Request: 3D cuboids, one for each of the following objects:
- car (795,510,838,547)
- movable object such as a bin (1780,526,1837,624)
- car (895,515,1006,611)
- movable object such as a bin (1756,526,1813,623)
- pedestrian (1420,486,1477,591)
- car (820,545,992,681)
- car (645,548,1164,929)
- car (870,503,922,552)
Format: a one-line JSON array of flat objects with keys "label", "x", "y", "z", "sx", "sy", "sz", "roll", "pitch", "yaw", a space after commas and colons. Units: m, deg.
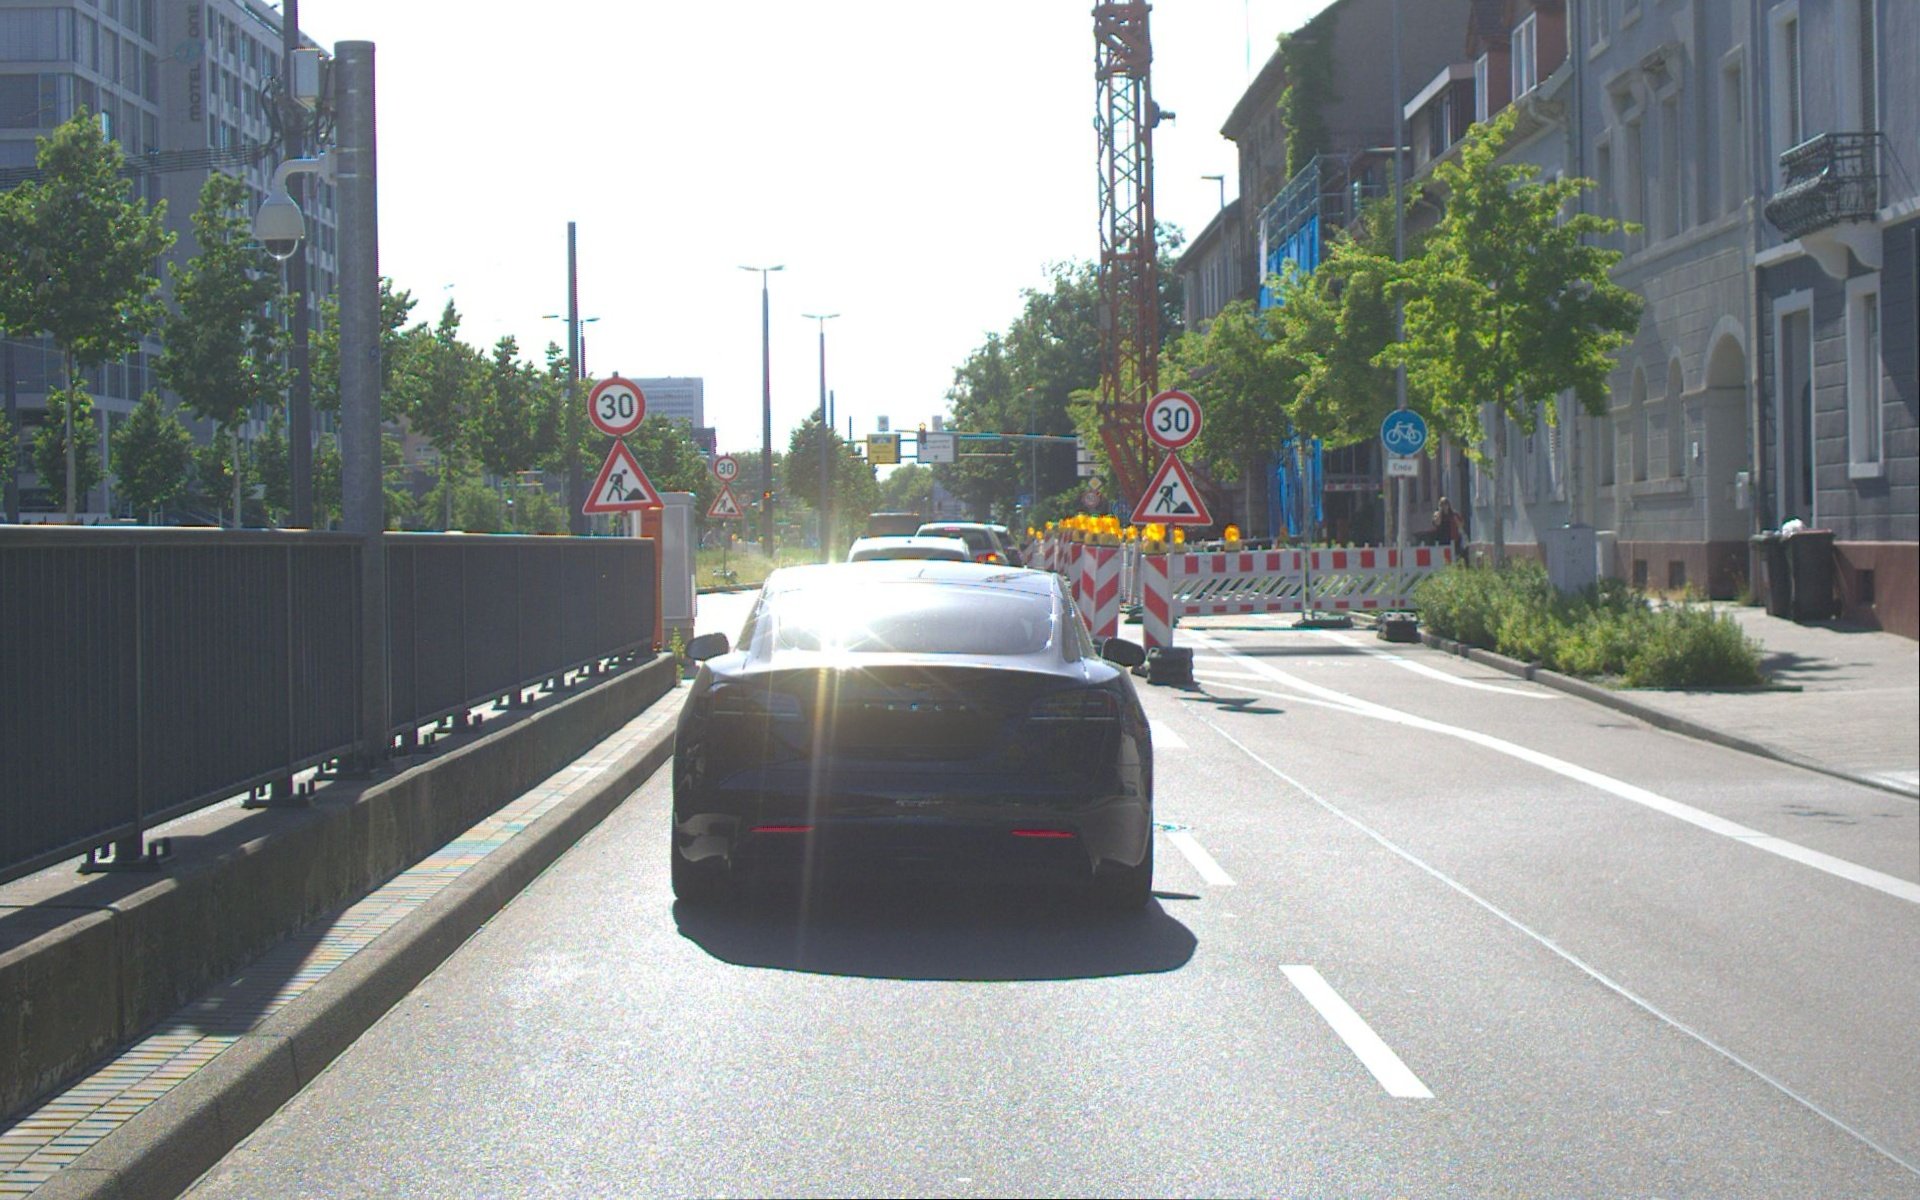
[{"label": "car", "x": -6.884, "y": -3.426, "z": 165.248, "sx": 1.993, "sy": 1.678, "sz": 4.000, "roll": 1, "pitch": 1, "yaw": -1}, {"label": "movable object such as a bin", "x": 10.142, "y": -0.300, "z": 41.096, "sx": 0.559, "sy": 1.165, "sz": 0.562, "roll": 1, "pitch": 1, "yaw": 4}, {"label": "car", "x": -0.126, "y": -0.647, "z": 58.036, "sx": 1.784, "sy": 1.540, "sz": 4.039, "roll": 0, "pitch": 2, "yaw": 1}, {"label": "movable object such as a bin", "x": 10.057, "y": -0.313, "z": 41.945, "sx": 0.559, "sy": 1.165, "sz": 0.562, "roll": 1, "pitch": 1, "yaw": 4}, {"label": "pedestrian", "x": 8.804, "y": -1.110, "z": 62.015, "sx": 0.851, "sy": 1.857, "sz": 0.930, "roll": -1, "pitch": 1, "yaw": -1}, {"label": "car", "x": -0.527, "y": 0.100, "z": 36.841, "sx": 1.716, "sy": 1.315, "sz": 4.000, "roll": 0, "pitch": 2, "yaw": 1}, {"label": "car", "x": -0.272, "y": 0.502, "z": 15.451, "sx": 1.999, "sy": 1.429, "sz": 4.413, "roll": 0, "pitch": 1, "yaw": -2}, {"label": "car", "x": -2.388, "y": -2.749, "z": 128.998, "sx": 1.814, "sy": 1.803, "sz": 4.039, "roll": 0, "pitch": 2, "yaw": 1}]
